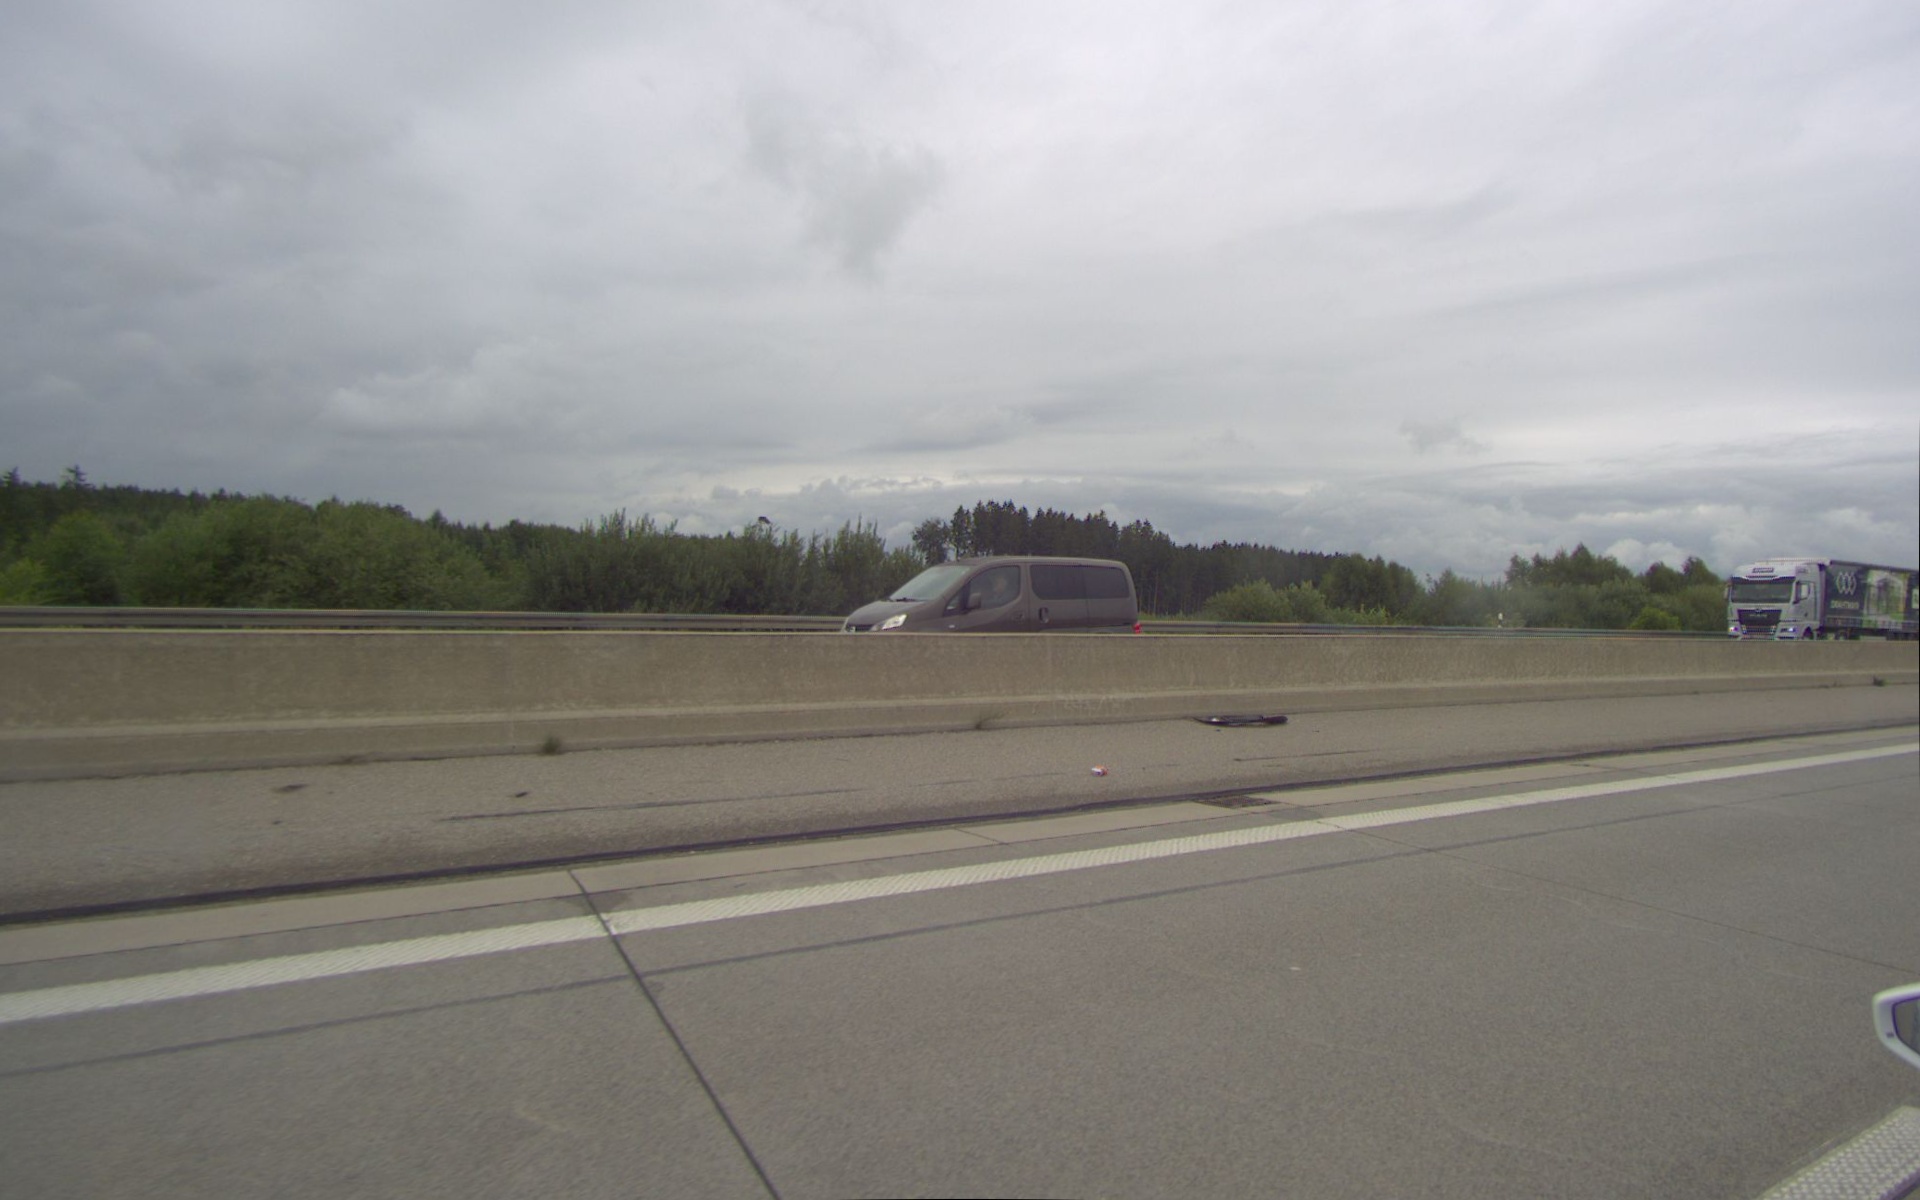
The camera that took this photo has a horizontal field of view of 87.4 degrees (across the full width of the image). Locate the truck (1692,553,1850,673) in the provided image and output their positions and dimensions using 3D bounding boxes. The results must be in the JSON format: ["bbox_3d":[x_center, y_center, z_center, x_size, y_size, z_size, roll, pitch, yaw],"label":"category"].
[{"bbox_3d":[35.694,0.554,44.219,5.801,4.883,3.569,1,0,-31],"label":"truck"}]

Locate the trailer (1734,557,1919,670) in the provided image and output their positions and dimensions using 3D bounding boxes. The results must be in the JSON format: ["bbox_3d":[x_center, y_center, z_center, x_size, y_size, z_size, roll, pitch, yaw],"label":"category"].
[{"bbox_3d":[42.173,0.661,48.139,12.759,4.864,3.580,1,0,-31],"label":"trailer"}]

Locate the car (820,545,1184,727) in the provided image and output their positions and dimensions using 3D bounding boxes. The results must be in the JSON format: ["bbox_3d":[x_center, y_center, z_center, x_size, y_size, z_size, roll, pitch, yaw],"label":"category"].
[{"bbox_3d":[0.654,0.459,14.089,4.806,2.175,1.984,1,0,-30],"label":"car"}]
